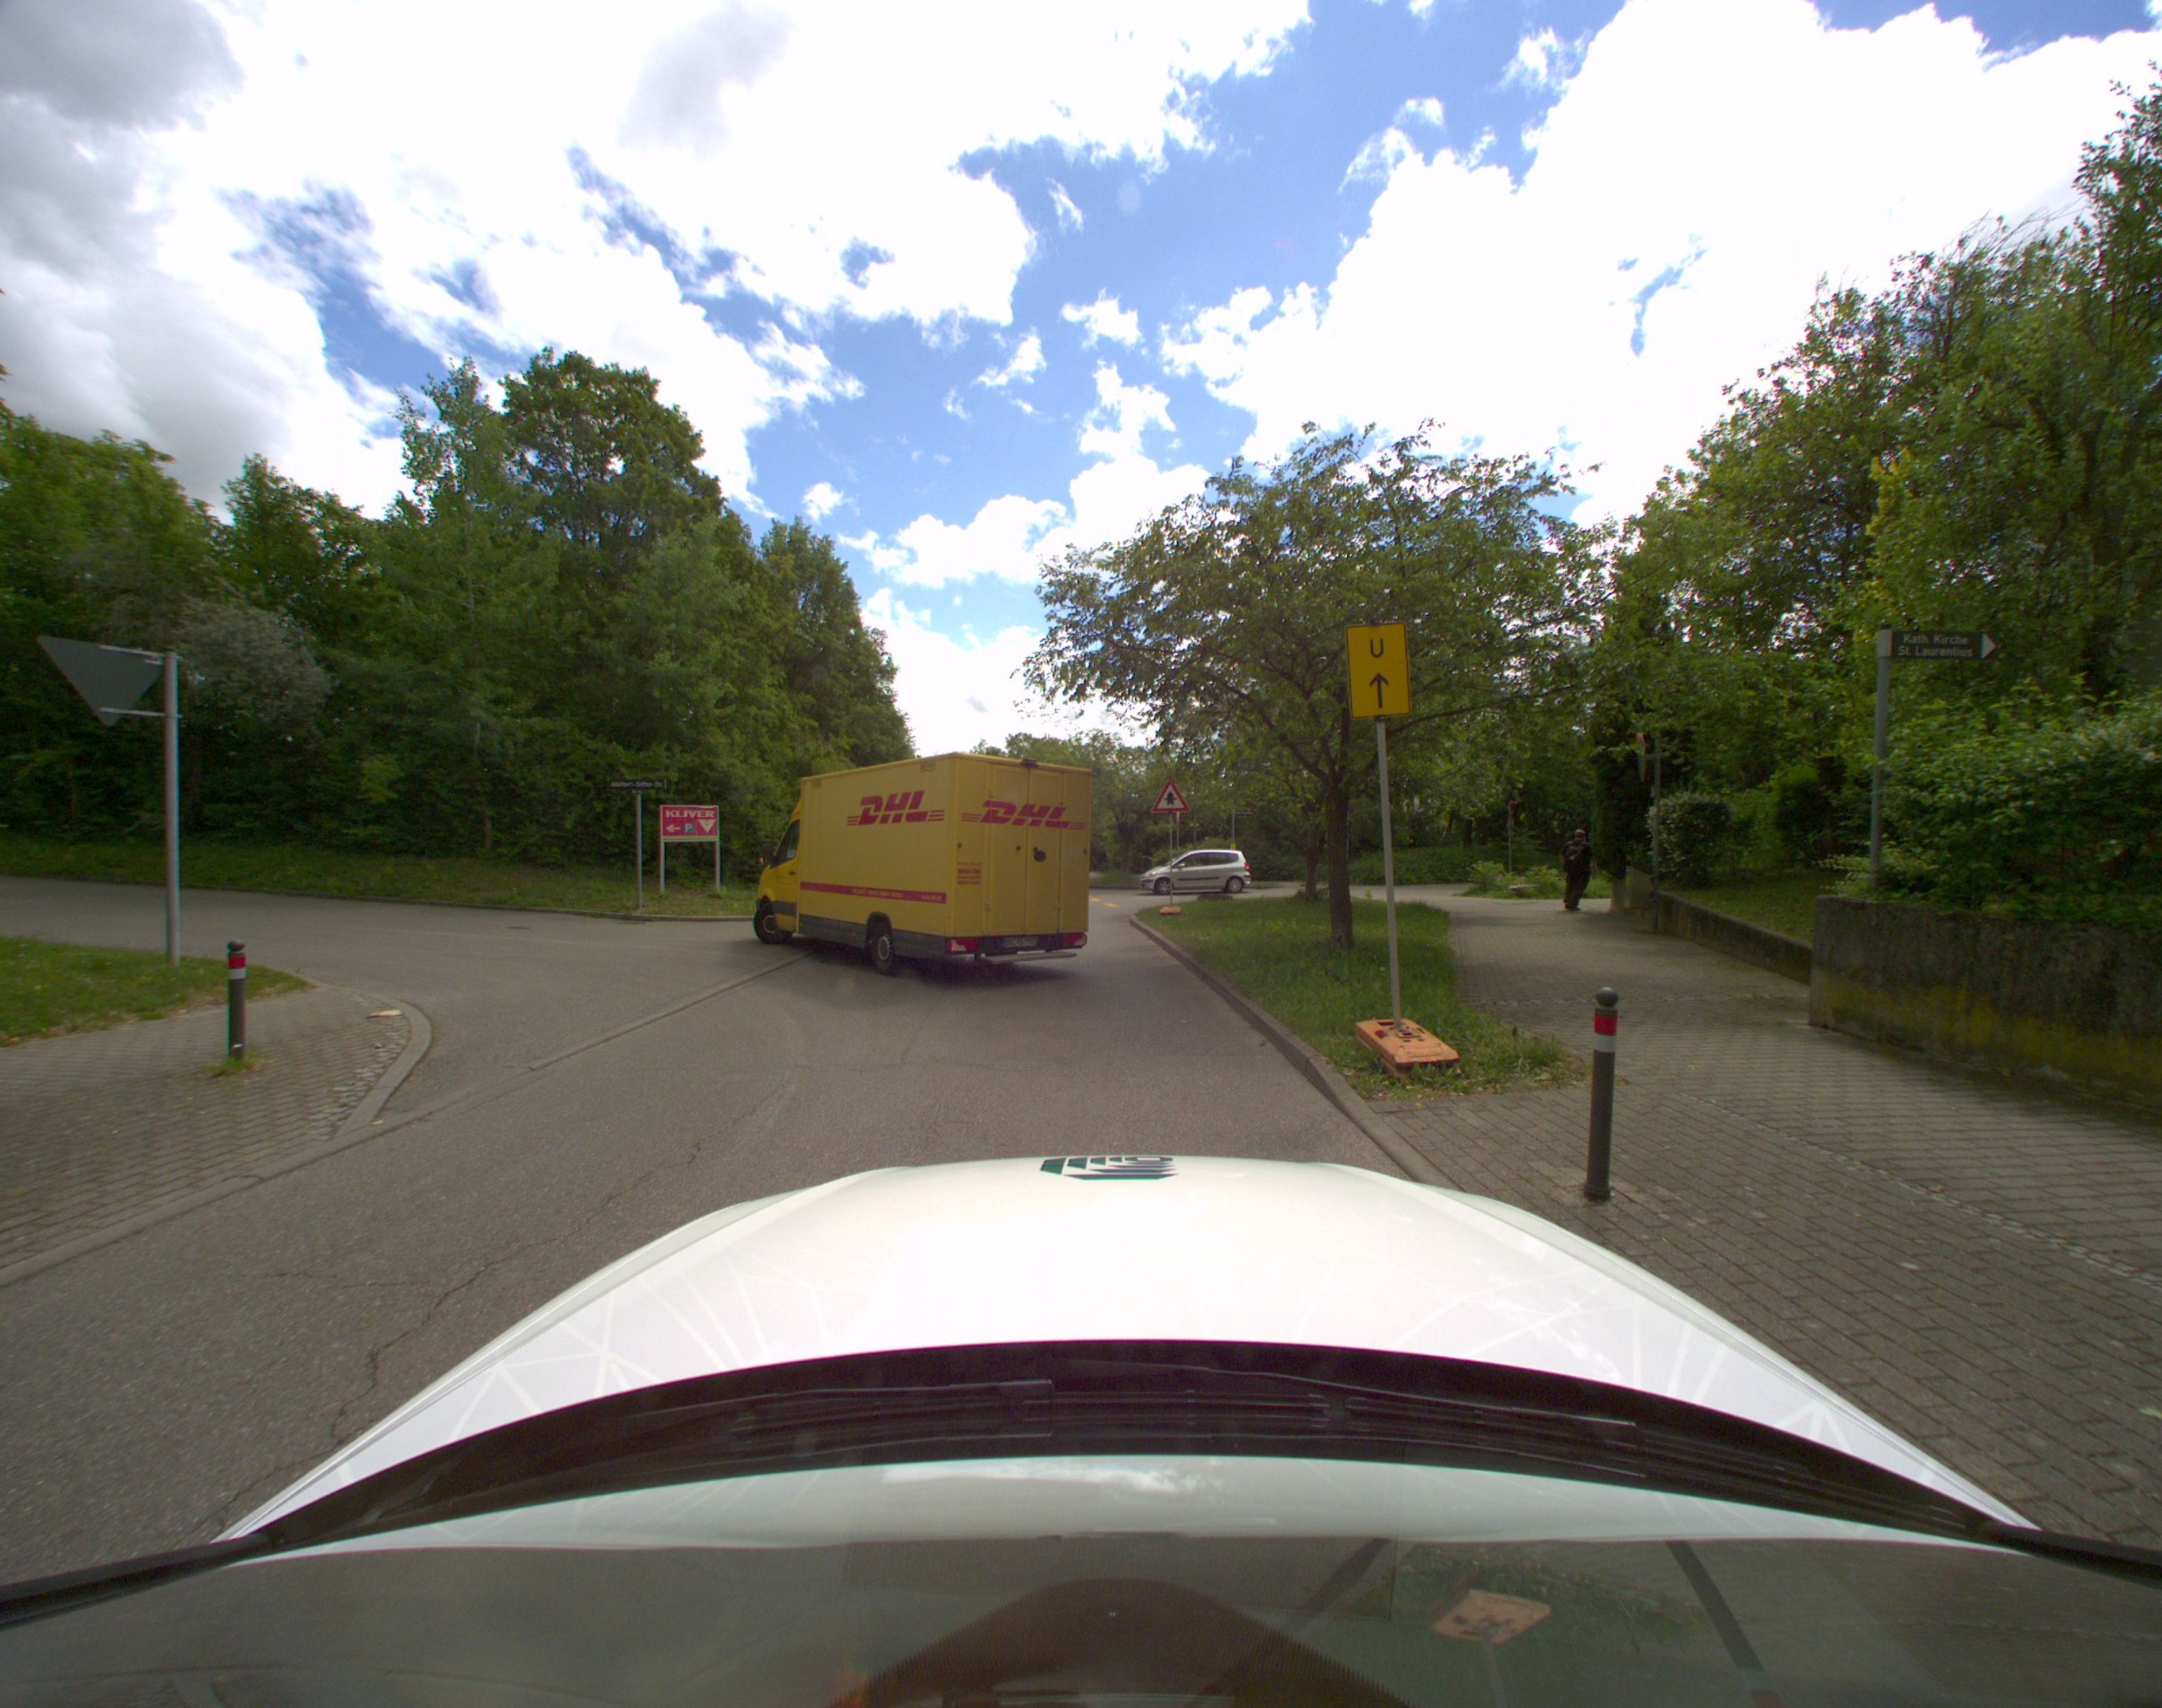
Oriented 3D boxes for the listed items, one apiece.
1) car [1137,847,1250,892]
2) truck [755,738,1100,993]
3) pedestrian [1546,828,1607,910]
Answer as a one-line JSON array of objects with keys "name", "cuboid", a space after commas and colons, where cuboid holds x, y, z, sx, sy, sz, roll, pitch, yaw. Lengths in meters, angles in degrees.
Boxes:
[{"name": "car", "cuboid": [3.855, 0.532, 28.389, 3.632, 1.456, 1.845, -1, 0, -3]}, {"name": "truck", "cuboid": [-2.682, 0.128, 12.189, 2.244, 2.808, 6.496, -1, 0, -39]}, {"name": "pedestrian", "cuboid": [10.782, 0.319, 17.741, 0.830, 1.737, 0.785, -1, 0, -3]}]
